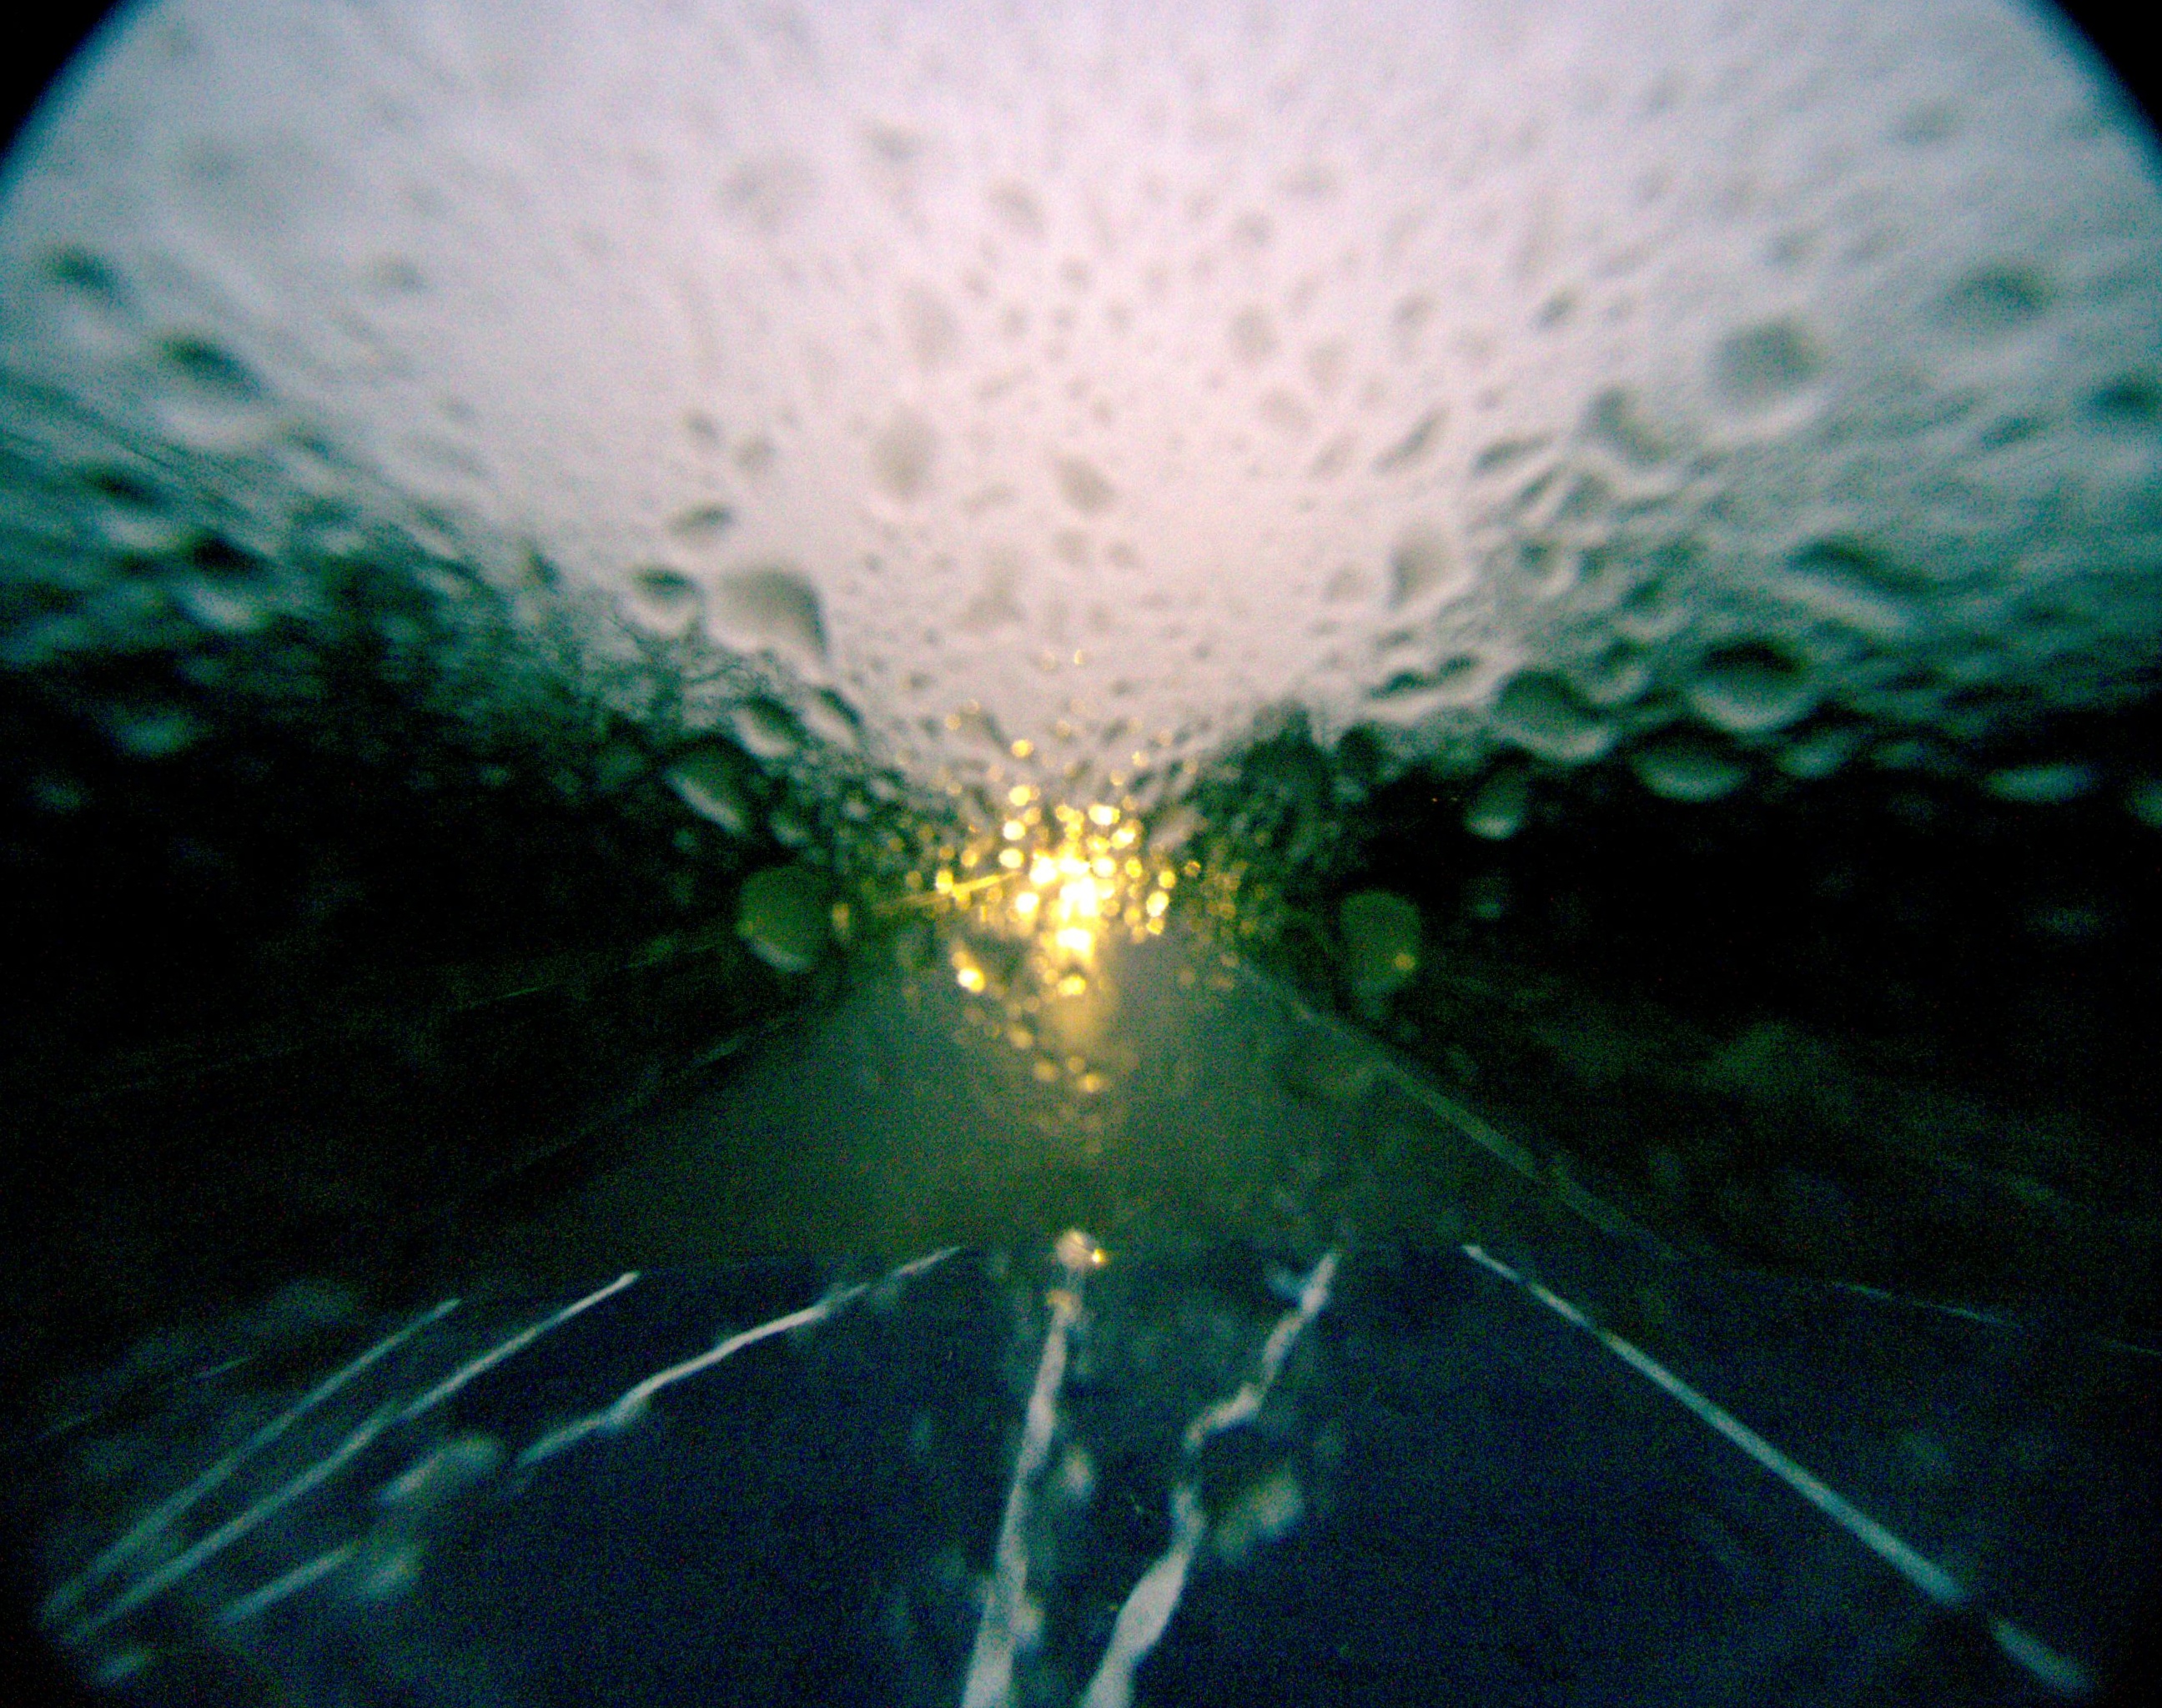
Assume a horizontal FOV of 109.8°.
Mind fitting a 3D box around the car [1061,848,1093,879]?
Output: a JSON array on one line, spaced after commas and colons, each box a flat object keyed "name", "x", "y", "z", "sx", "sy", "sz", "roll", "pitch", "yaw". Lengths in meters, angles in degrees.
[{"name": "car", "x": -0.247, "y": 0.680, "z": 51.610, "sx": 1.998, "sy": 2.001, "sz": 3.965, "roll": 1, "pitch": -1, "yaw": 1}]

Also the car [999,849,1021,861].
[{"name": "car", "x": -12.583, "y": 0.223, "z": 135.343, "sx": 2.003, "sy": 2.002, "sz": 4.218, "roll": -2, "pitch": 1, "yaw": -35}]

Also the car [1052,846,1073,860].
[{"name": "car", "x": -2.822, "y": -0.202, "z": 114.672, "sx": 2.001, "sy": 2.002, "sz": 4.223, "roll": -2, "pitch": 1, "yaw": -17}]
